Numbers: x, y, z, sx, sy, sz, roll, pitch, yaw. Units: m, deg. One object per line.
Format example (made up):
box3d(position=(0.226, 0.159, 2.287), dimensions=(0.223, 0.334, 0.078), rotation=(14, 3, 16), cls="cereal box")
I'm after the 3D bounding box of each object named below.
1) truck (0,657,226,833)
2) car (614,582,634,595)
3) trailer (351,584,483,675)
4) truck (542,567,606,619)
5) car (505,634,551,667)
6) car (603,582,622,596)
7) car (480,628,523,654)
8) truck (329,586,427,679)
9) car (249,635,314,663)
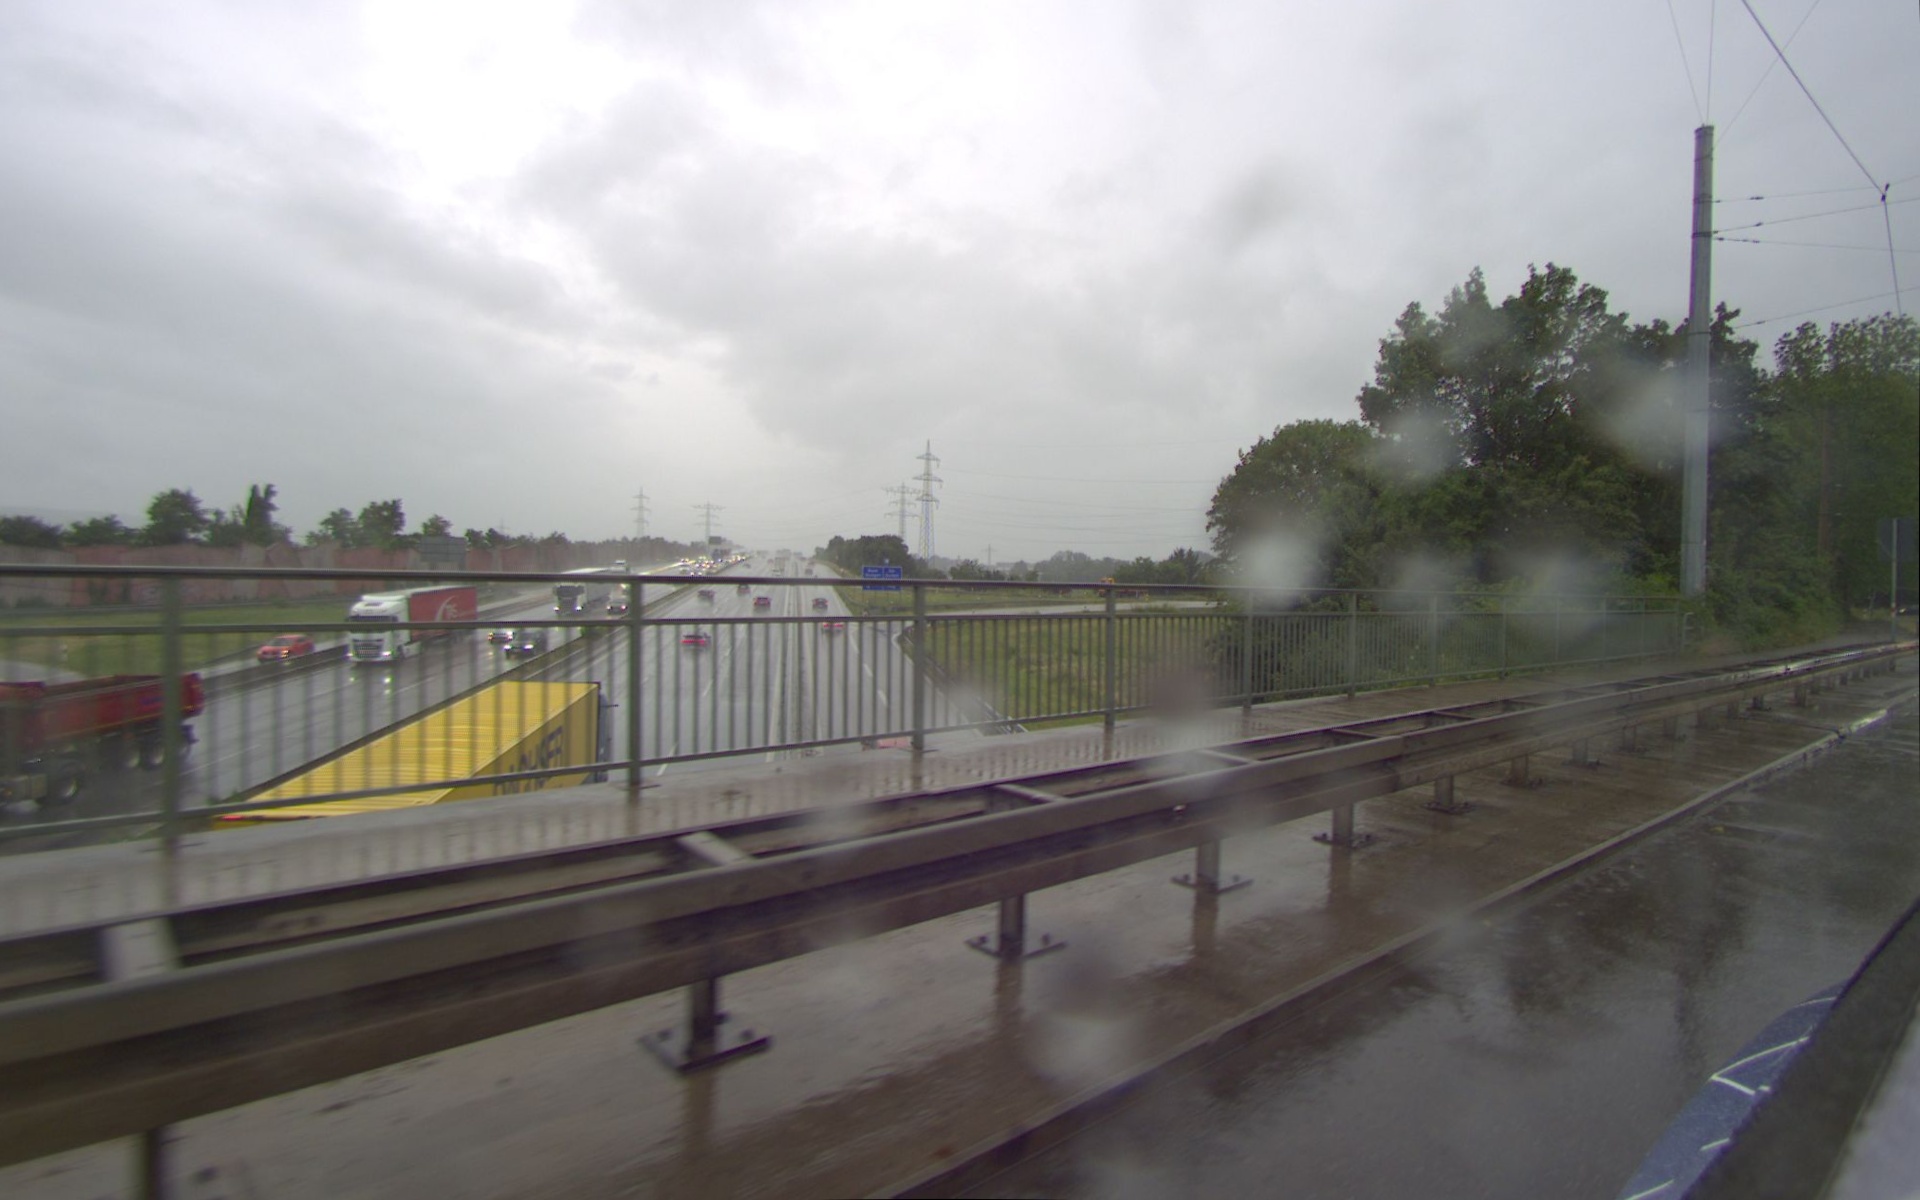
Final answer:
box3d(position=(-26.876, 4.096, 29.621), dimensions=(3.079, 3.797, 12.400), rotation=(-1, 1, -7), cls="truck")
box3d(position=(-44.364, -1.511, 133.638), dimensions=(1.887, 1.781, 3.876), rotation=(0, 0, -9), cls="car")
box3d(position=(-36.781, 1.717, 69.434), dimensions=(3.079, 5.008, 13.872), rotation=(-1, 3, -7), cls="trailer")
box3d(position=(-38.620, -0.825, 101.859), dimensions=(3.079, 4.496, 12.405), rotation=(-1, 3, -7), cls="truck")
box3d(position=(-28.194, 3.281, 66.143), dimensions=(1.770, 1.603, 4.009), rotation=(-2, 4, -8), cls="car")
box3d(position=(-49.909, -1.584, 145.329), dimensions=(1.832, 1.856, 3.876), rotation=(0, 0, -9), cls="car")
box3d(position=(-33.831, 2.995, 74.775), dimensions=(1.770, 1.517, 4.008), rotation=(-2, 3, -8), cls="car")
box3d(position=(-35.896, 1.898, 62.639), dimensions=(3.079, 5.176, 5.816), rotation=(-1, 3, -7), cls="truck")
box3d(position=(-41.757, 2.980, 62.380), dimensions=(1.770, 1.605, 4.004), rotation=(-2, -1, -8), cls="car")
